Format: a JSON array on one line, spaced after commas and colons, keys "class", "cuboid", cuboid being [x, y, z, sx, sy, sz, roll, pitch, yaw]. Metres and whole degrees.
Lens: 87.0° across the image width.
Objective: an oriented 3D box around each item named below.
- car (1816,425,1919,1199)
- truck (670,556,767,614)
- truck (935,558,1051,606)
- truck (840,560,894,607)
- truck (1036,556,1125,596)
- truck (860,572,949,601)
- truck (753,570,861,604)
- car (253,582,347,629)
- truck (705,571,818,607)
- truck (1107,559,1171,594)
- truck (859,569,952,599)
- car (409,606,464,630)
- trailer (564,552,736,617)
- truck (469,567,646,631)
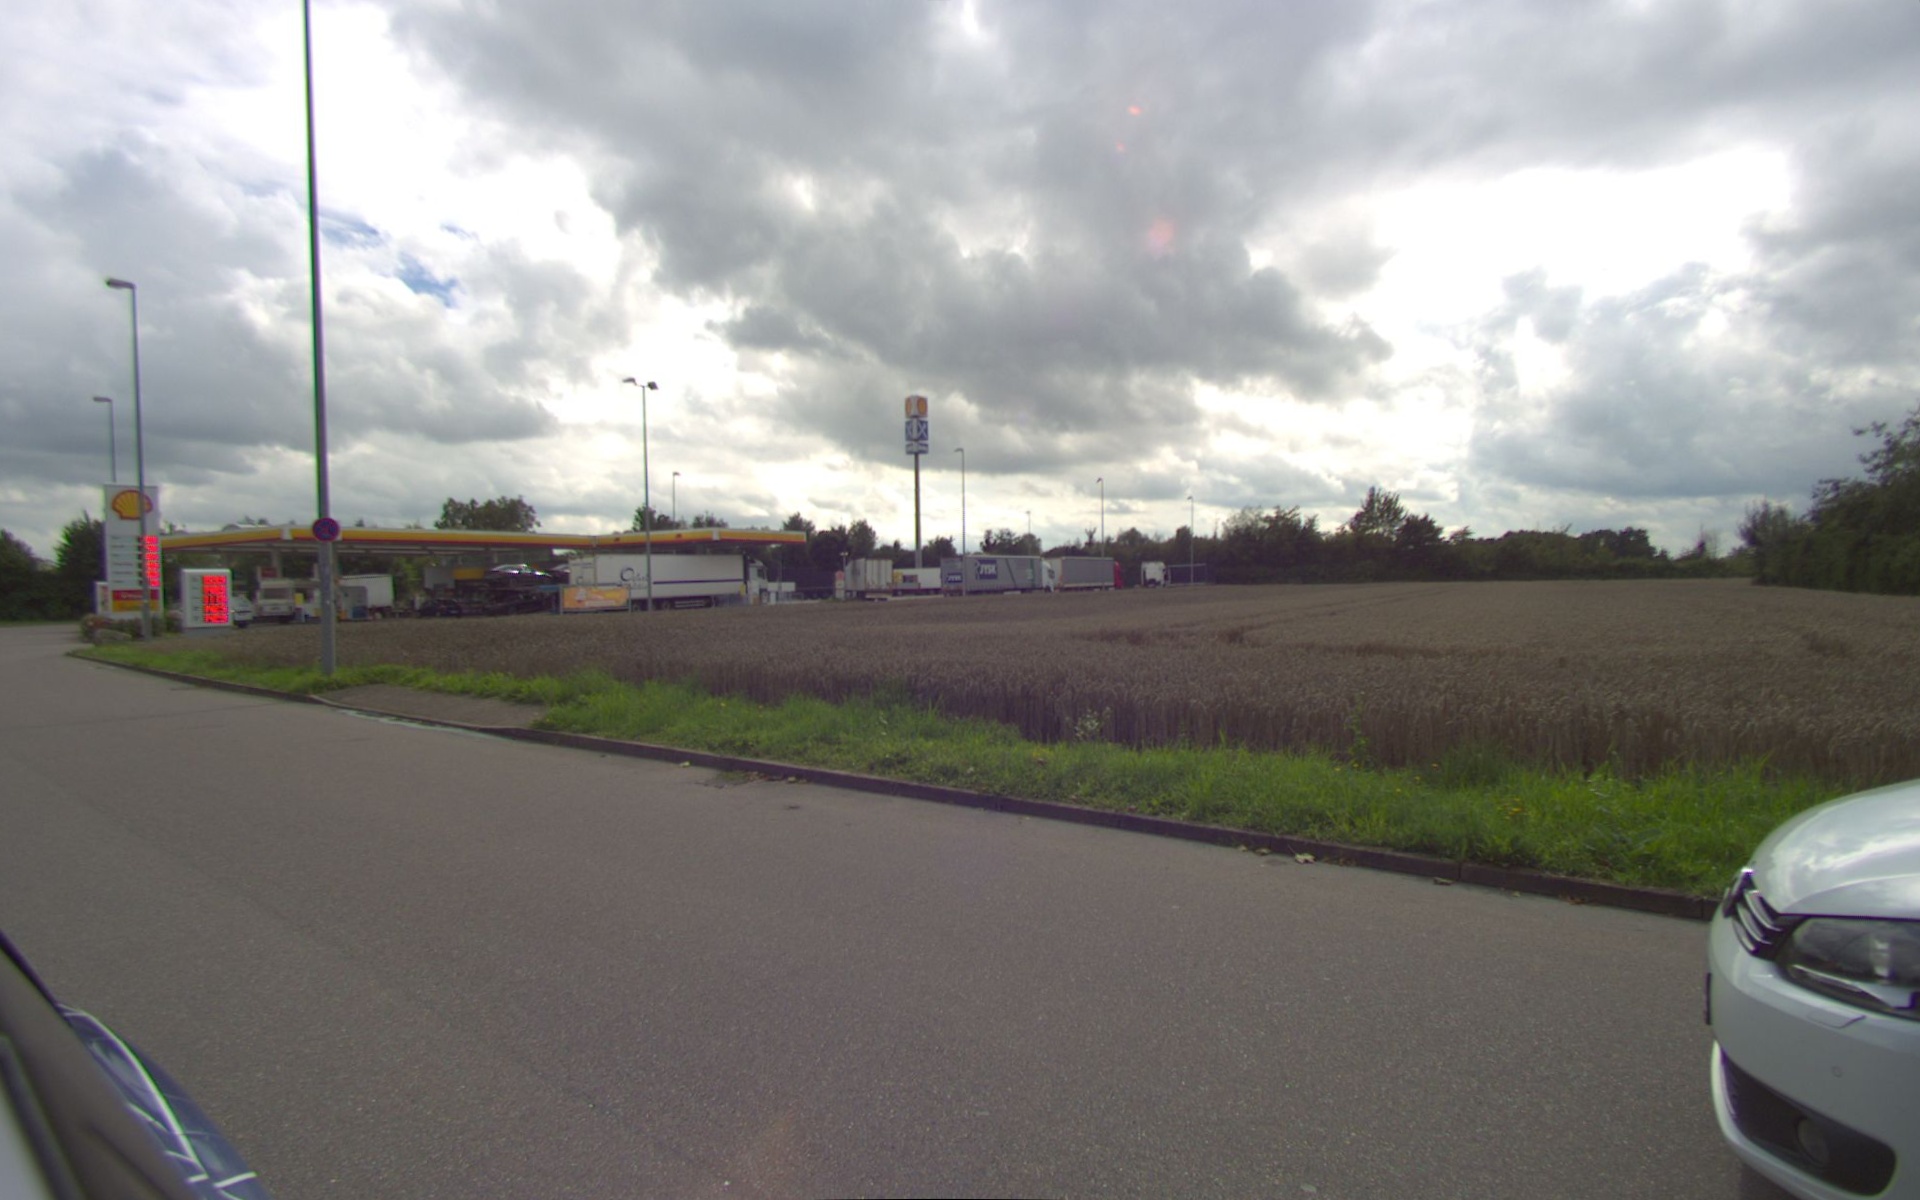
[{"class": "car", "cuboid": [3.700, 0.514, 1.164, 4.026, 1.678, 1.683, -1, -1, 38]}, {"class": "truck", "cuboid": [-17.745, -1.123, 74.867, 2.703, 4.055, 7.094, -2, 1, 31]}, {"class": "truck", "cuboid": [3.284, -1.670, 90.339, 2.816, 3.922, 15.287, 0, 1, 33]}, {"class": "truck", "cuboid": [-9.202, -1.571, 97.753, 2.914, 4.143, 14.790, -1, 1, -14]}, {"class": "truck", "cuboid": [12.882, -2.542, 106.162, 2.816, 3.922, 15.287, 0, 1, 33]}, {"class": "truck", "cuboid": [-8.059, -2.030, 147.570, 12.594, 3.922, 2.832, -1, 1, -14]}, {"class": "truck", "cuboid": [-18.790, -1.679, 124.225, 12.797, 3.922, 2.832, -1, 1, -13]}, {"class": "car", "cuboid": [-42.041, 0.334, 64.677, 2.193, 2.807, 5.809, -2, 0, -1]}, {"class": "truck", "cuboid": [-22.813, -1.300, 116.281, 12.594, 3.922, 2.832, -1, 1, -14]}, {"class": "truck", "cuboid": [21.536, -2.851, 121.048, 2.816, 3.922, 12.665, 0, 1, 33]}, {"class": "truck", "cuboid": [-7.628, -2.281, 142.315, 12.594, 3.922, 2.832, -1, 1, -14]}, {"class": "car", "cuboid": [-37.551, 1.315, 72.590, 3.743, 1.613, 1.701, -2, 1, 28]}, {"class": "trailer", "cuboid": [-20.894, -1.102, 69.541, 2.703, 4.055, 12.714, -2, 1, 31]}, {"class": "truck", "cuboid": [-26.894, -0.187, 68.893, 2.735, 3.953, 13.156, 0, 1, 23]}]
